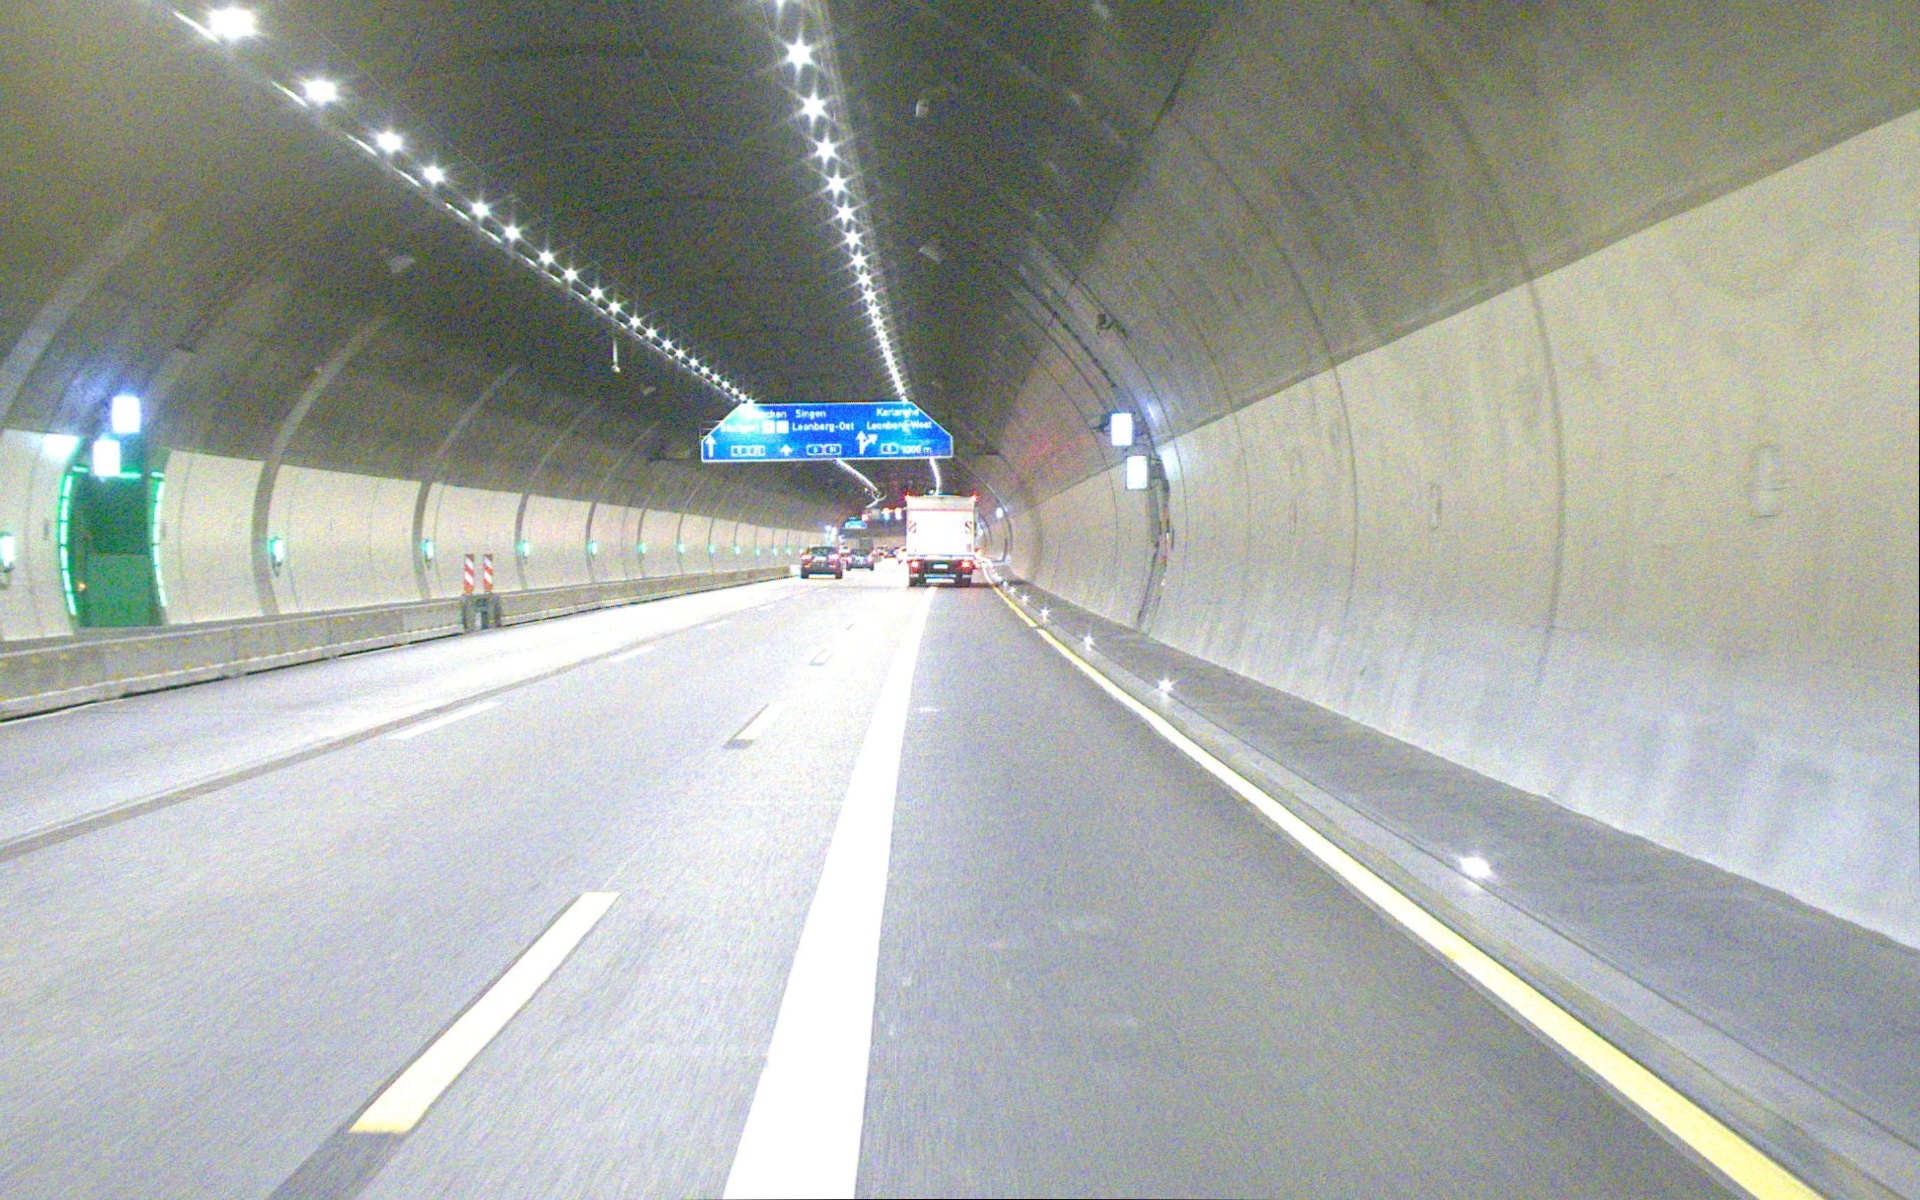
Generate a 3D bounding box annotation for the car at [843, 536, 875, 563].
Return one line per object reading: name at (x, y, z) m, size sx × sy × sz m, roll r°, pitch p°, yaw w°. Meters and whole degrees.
car at (-6.320, -3.158, 214.981) m, size 1.812 × 1.514 × 4.001 m, roll 1°, pitch 2°, yaw -4°

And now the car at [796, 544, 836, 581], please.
car at (-6.657, -1.740, 158.846) m, size 1.812 × 1.612 × 4.001 m, roll 1°, pitch 1°, yaw -2°

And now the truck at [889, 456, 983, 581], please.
truck at (-1.073, -3.178, 136.713) m, size 3.278 × 4.634 × 17.288 m, roll -1°, pitch 1°, yaw -2°

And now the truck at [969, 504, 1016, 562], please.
truck at (2.309, -4.863, 249.934) m, size 2.922 × 4.034 × 14.031 m, roll -1°, pitch 1°, yaw -2°
